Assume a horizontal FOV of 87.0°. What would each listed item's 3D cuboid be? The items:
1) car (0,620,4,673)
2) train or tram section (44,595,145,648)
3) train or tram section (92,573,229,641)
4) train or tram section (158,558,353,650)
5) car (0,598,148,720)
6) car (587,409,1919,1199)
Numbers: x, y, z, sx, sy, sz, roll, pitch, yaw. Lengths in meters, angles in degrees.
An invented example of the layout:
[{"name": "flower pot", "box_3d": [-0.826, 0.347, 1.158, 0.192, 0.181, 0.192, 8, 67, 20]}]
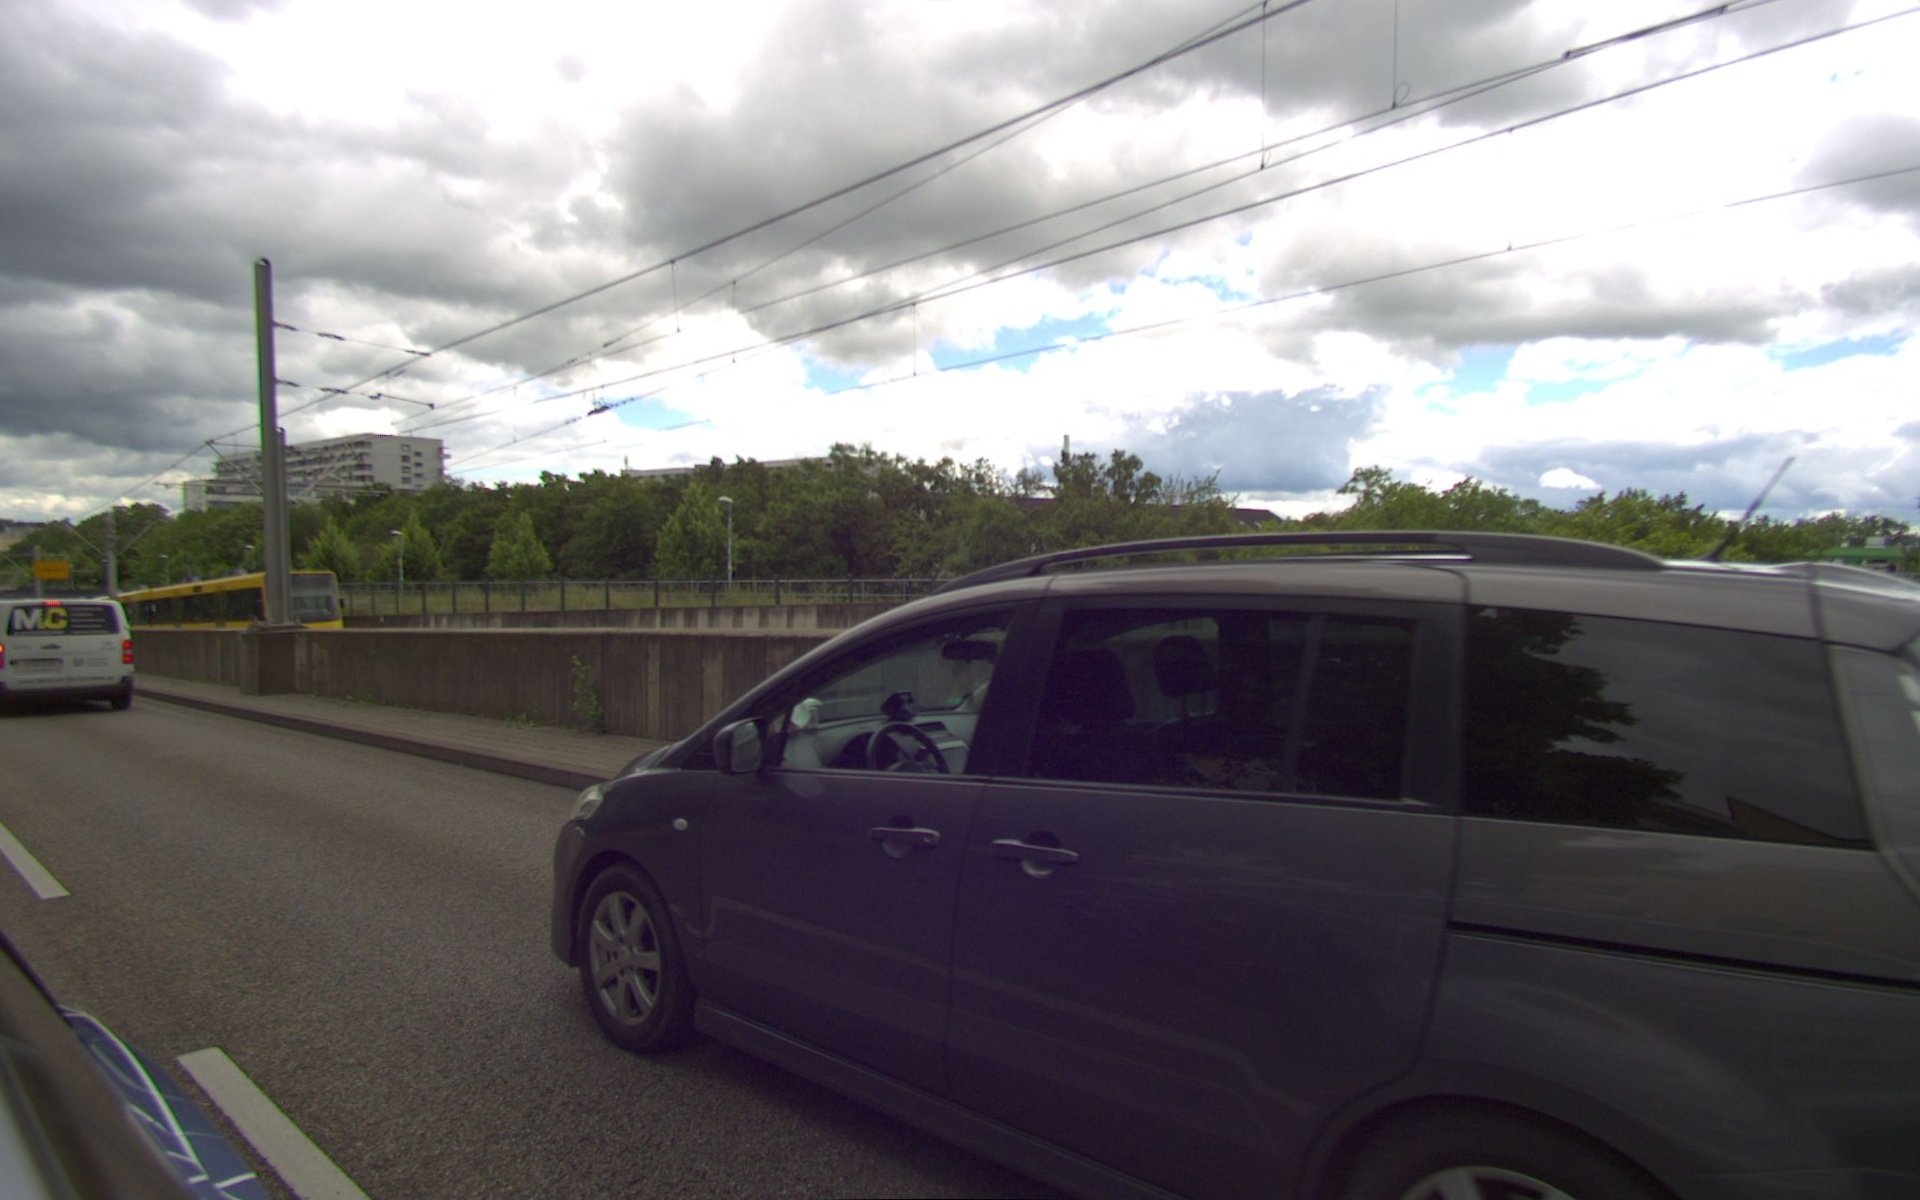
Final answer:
[{"name": "car", "box_3d": [-33.368, 1.566, 33.773, 4.063, 1.700, 1.759, -2, -2, 41]}, {"name": "train or tram section", "box_3d": [-59.618, 1.494, 69.408, 19.910, 3.239, 2.706, -1, -2, 42]}, {"name": "train or tram section", "box_3d": [-43.979, 0.394, 55.213, 18.468, 3.217, 2.751, -1, 0, 42]}, {"name": "train or tram section", "box_3d": [-30.290, 0.217, 42.799, 18.471, 3.217, 2.751, -1, 0, 42]}, {"name": "car", "box_3d": [-15.863, 0.937, 17.556, 4.902, 1.847, 1.877, -1, -2, 41]}, {"name": "car", "box_3d": [0.892, 0.597, 2.869, 4.242, 1.670, 1.804, -1, -1, 40]}]
